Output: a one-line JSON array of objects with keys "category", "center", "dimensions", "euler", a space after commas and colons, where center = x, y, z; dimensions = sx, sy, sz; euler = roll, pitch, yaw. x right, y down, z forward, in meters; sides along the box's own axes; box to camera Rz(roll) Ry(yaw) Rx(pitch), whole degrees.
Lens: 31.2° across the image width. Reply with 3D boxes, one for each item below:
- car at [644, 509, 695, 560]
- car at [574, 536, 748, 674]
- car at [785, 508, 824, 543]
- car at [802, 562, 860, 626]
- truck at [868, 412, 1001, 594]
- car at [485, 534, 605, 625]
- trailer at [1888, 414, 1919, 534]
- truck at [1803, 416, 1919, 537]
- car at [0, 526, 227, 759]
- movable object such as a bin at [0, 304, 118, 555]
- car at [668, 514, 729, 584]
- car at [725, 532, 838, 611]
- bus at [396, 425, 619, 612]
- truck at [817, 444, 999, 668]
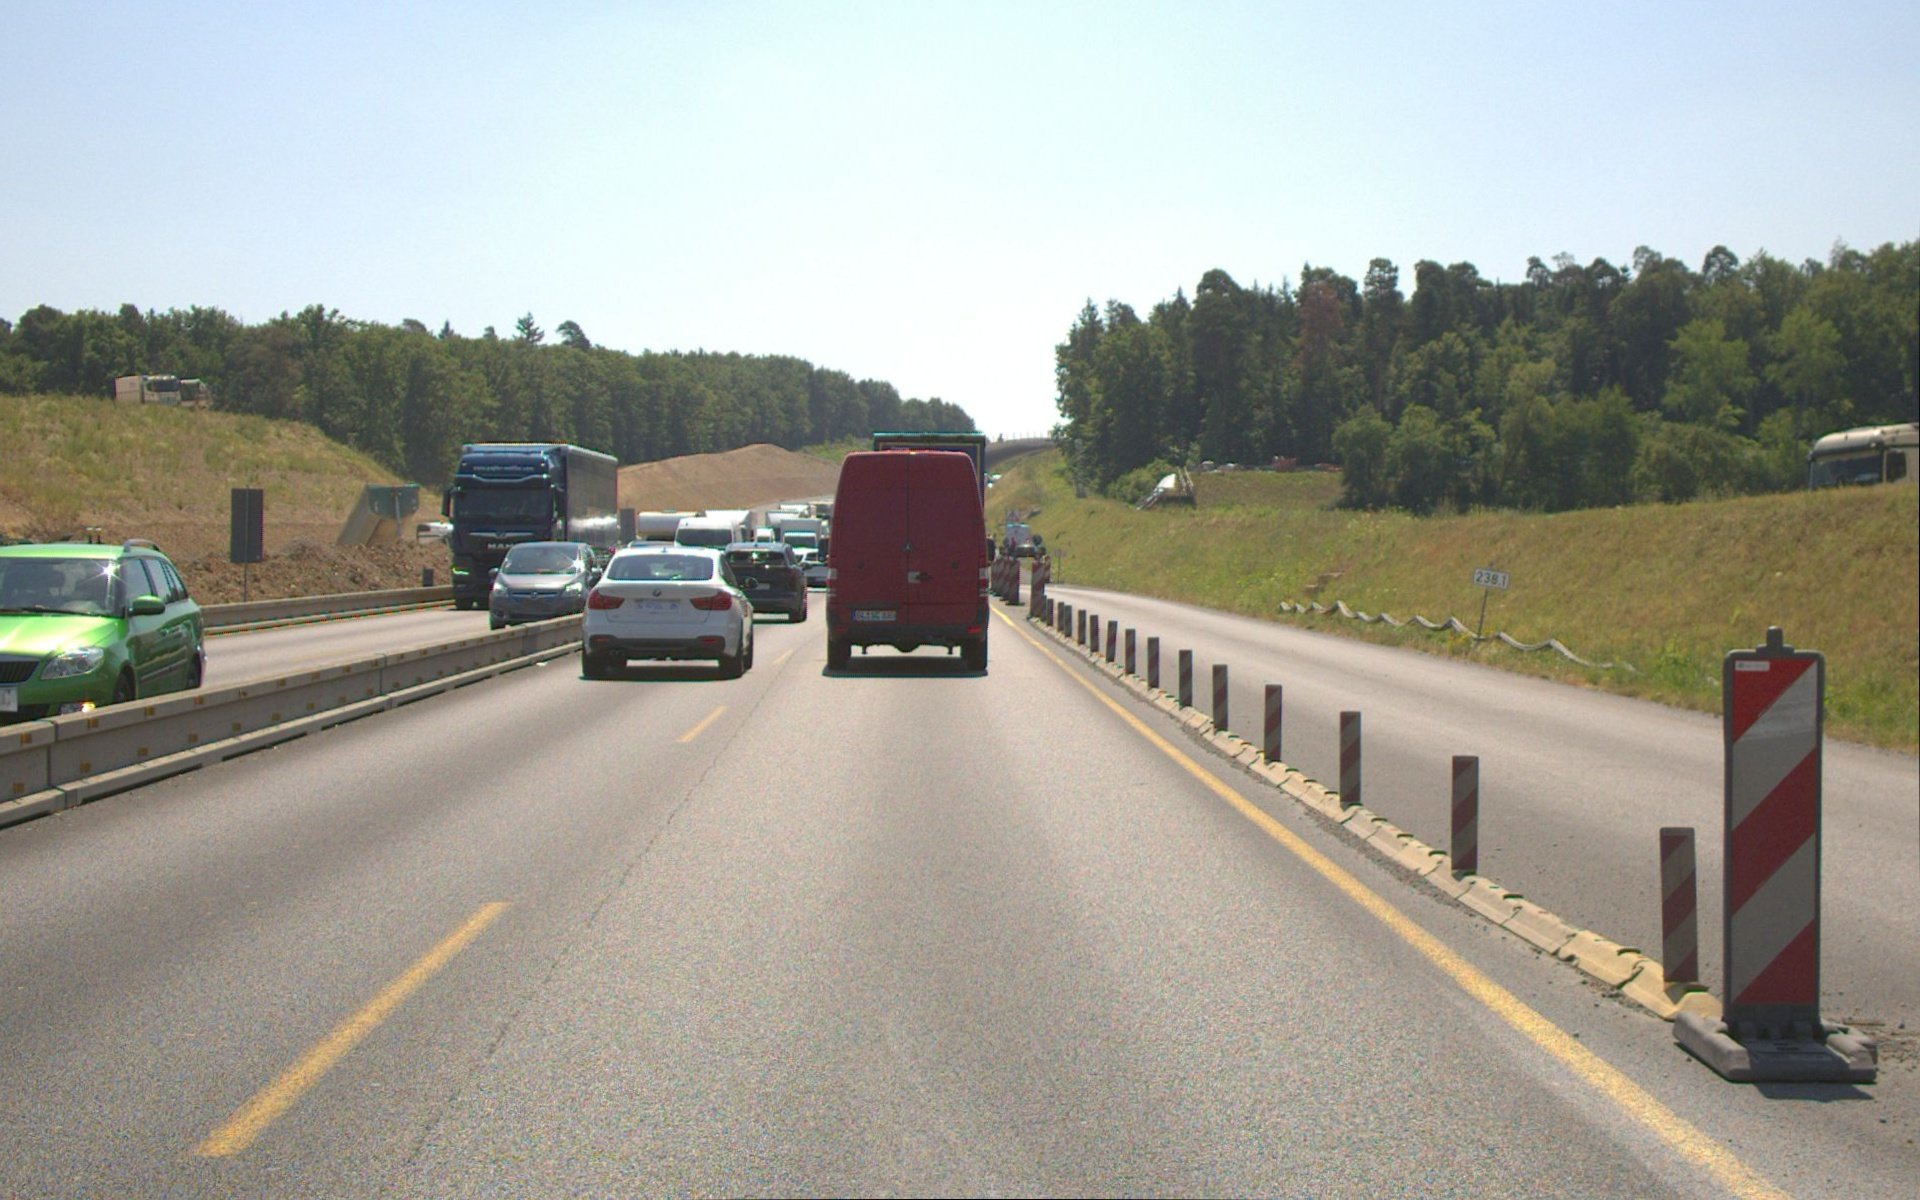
[{"category": "car", "center": [-11.775, -2.658, 139.406], "dimensions": [1.763, 2.007, 3.827], "euler": [0, 1, -1]}, {"category": "car", "center": [-3.493, 0.013, 40.891], "dimensions": [1.795, 1.529, 5.074], "euler": [1, 1, -2]}, {"category": "car", "center": [-8.487, -4.066, 188.116], "dimensions": [1.993, 1.897, 4.000], "euler": [0, 1, 0]}, {"category": "car", "center": [-4.166, -0.209, 111.225], "dimensions": [1.763, 2.007, 3.827], "euler": [0, 1, -1]}, {"category": "truck", "center": [-0.585, -2.302, 82.919], "dimensions": [3.015, 4.138, 8.273], "euler": [0, 1, 0]}, {"category": "car", "center": [-7.313, -0.394, 60.918], "dimensions": [1.652, 1.553, 4.096], "euler": [0, 1, 0]}, {"category": "trailer", "center": [30.233, -3.462, 93.854], "dimensions": [8.993, 3.218, 3.332], "euler": [-1, 1, -15]}, {"category": "truck", "center": [24.595, -3.271, 92.141], "dimensions": [2.899, 3.102, 6.004], "euler": [0, 1, 24]}, {"category": "car", "center": [-6.645, 0.250, 25.395], "dimensions": [1.602, 1.574, 4.168], "euler": [0, 1, -1]}, {"category": "movable object such as a bin", "center": [-34.464, -4.868, 100.516], "dimensions": [18.710, 7.206, 3.616], "euler": [-1, 1, -2]}, {"category": "car", "center": [-8.304, -1.632, 109.360], "dimensions": [1.858, 2.147, 3.626], "euler": [-1, 1, -3]}, {"category": "car", "center": [-3.566, -0.590, 69.275], "dimensions": [1.795, 1.529, 3.931], "euler": [0, 1, 4]}, {"category": "bus", "center": [-11.624, -2.107, 90.428], "dimensions": [3.942, 4.400, 17.202], "euler": [0, 1, -1]}, {"category": "truck", "center": [-0.574, -0.585, 43.808], "dimensions": [2.111, 2.624, 6.484], "euler": [0, 1, 1]}]
